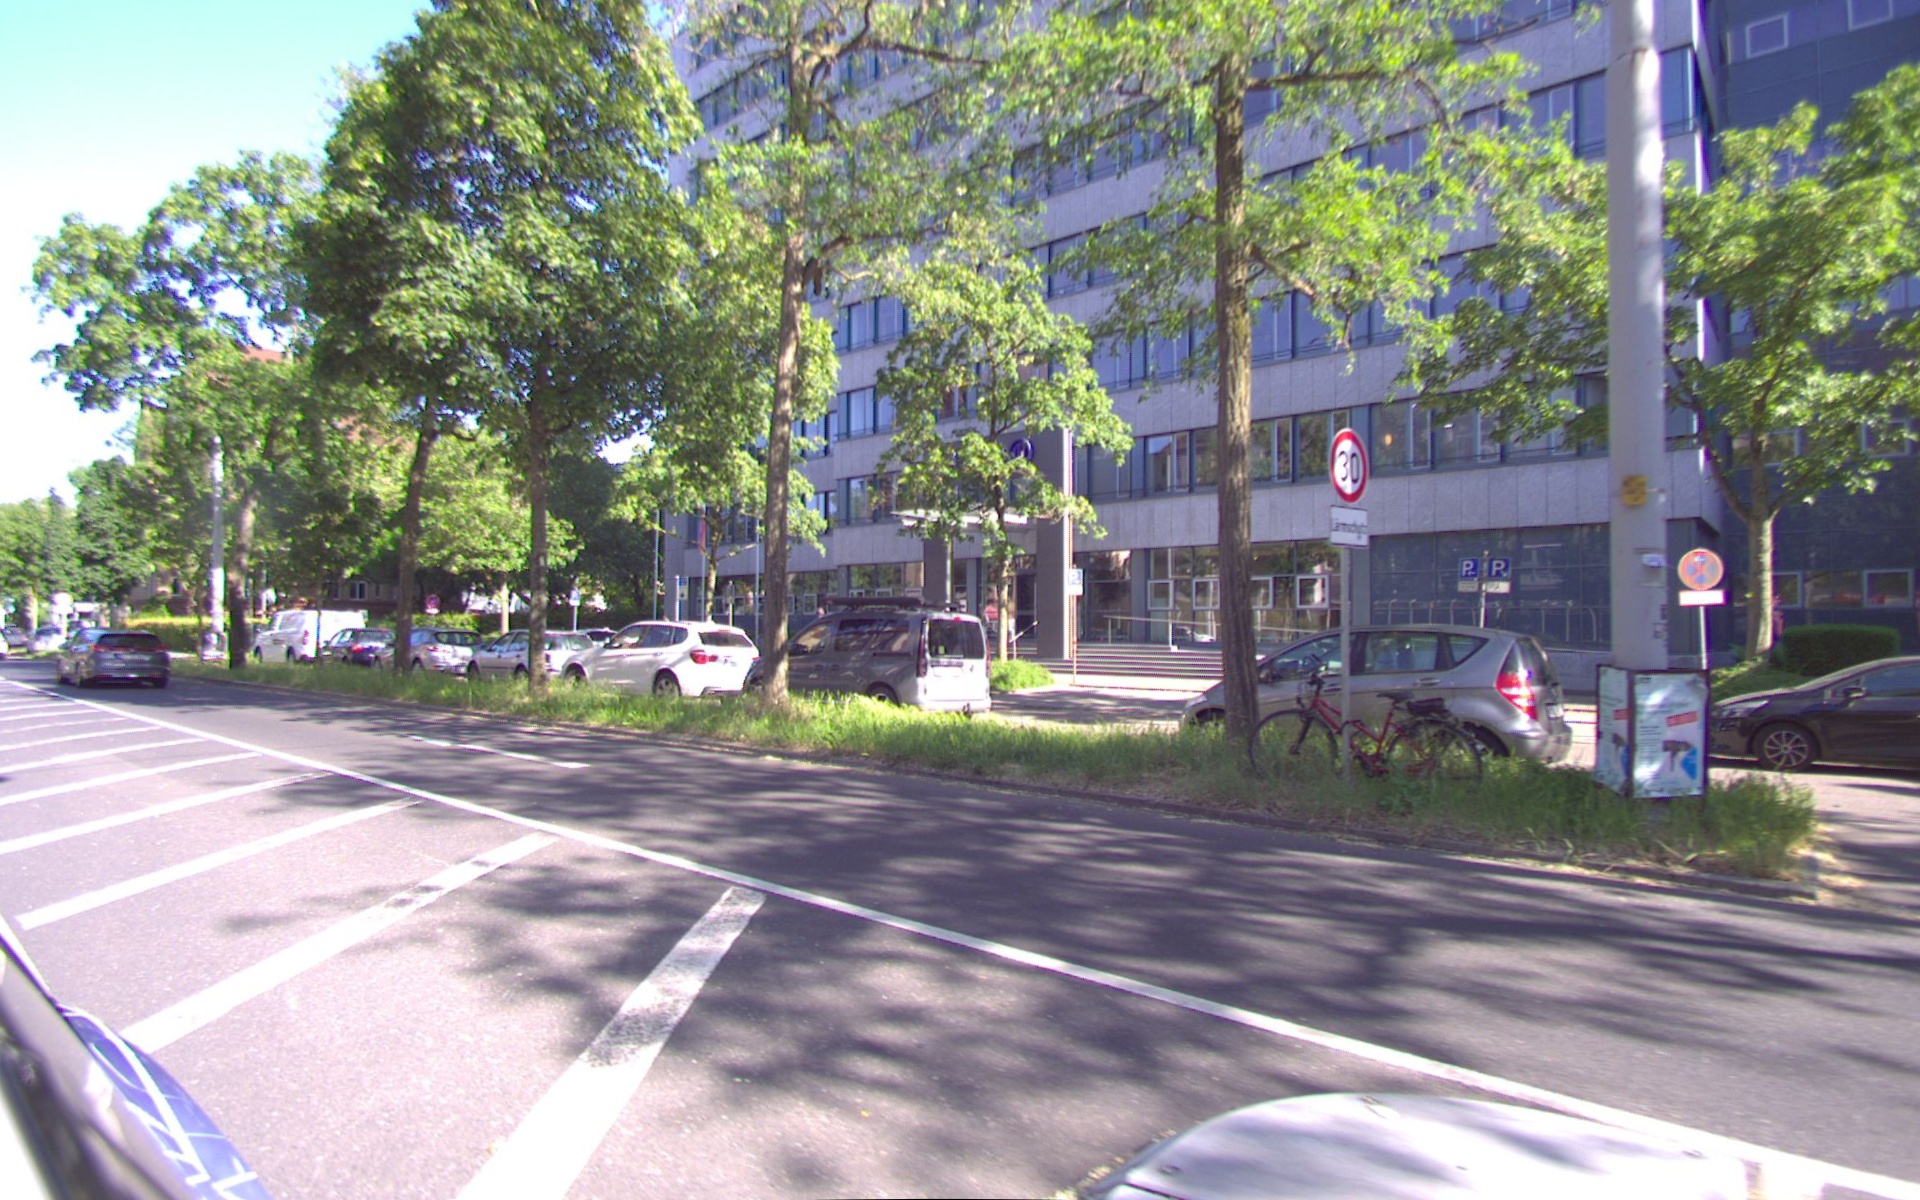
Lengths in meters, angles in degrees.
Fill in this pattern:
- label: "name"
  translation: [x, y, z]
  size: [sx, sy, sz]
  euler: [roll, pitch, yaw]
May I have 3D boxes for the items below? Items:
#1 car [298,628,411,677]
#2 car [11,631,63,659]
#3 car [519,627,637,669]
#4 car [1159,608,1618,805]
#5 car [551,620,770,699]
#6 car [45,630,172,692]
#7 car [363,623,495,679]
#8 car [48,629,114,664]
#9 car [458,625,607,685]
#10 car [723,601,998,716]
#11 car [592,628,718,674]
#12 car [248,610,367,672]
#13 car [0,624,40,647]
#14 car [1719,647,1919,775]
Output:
- label: "car"
  translation: [-17.940, 1.501, 29.919]
  size: [4.186, 1.343, 1.658]
  euler: [-1, -2, 41]
- label: "car"
  translation: [-48.200, 2.315, 52.822]
  size: [3.998, 1.425, 1.585]
  euler: [-1, -2, 42]
- label: "car"
  translation: [-15.075, 1.867, 40.041]
  size: [1.895, 1.564, 3.944]
  euler: [-1, -2, 42]
- label: "car"
  translation: [4.320, 0.962, 10.588]
  size: [4.081, 1.659, 1.754]
  euler: [-1, -3, 41]
- label: "car"
  translation: [-5.923, 1.095, 19.810]
  size: [4.482, 1.394, 1.701]
  euler: [-1, -2, 35]
- label: "car"
  translation: [-21.518, 1.484, 25.533]
  size: [4.186, 1.433, 1.769]
  euler: [-1, -3, 41]
- label: "car"
  translation: [-13.930, 1.293, 26.472]
  size: [3.966, 1.355, 1.636]
  euler: [-1, -2, 40]
- label: "car"
  translation: [-39.652, 2.042, 45.630]
  size: [3.998, 1.501, 1.718]
  euler: [-1, -2, 42]
- label: "car"
  translation: [-9.708, 1.195, 22.867]
  size: [3.846, 1.236, 1.634]
  euler: [-1, -2, 42]
- label: "car"
  translation: [-1.669, 0.856, 15.870]
  size: [4.445, 1.561, 1.712]
  euler: [-1, -2, 40]
- label: "car"
  translation: [-10.950, 1.800, 36.533]
  size: [1.895, 1.564, 3.944]
  euler: [-1, -2, 42]
- label: "car"
  translation: [-21.713, 1.342, 33.609]
  size: [4.521, 1.923, 2.044]
  euler: [-1, -2, 40]
- label: "car"
  translation: [-59.582, 2.219, 64.054]
  size: [3.998, 1.425, 1.585]
  euler: [-1, -2, 42]
- label: "car"
  translation: [11.427, 1.293, 12.047]
  size: [3.795, 1.414, 1.665]
  euler: [-1, -3, 38]
